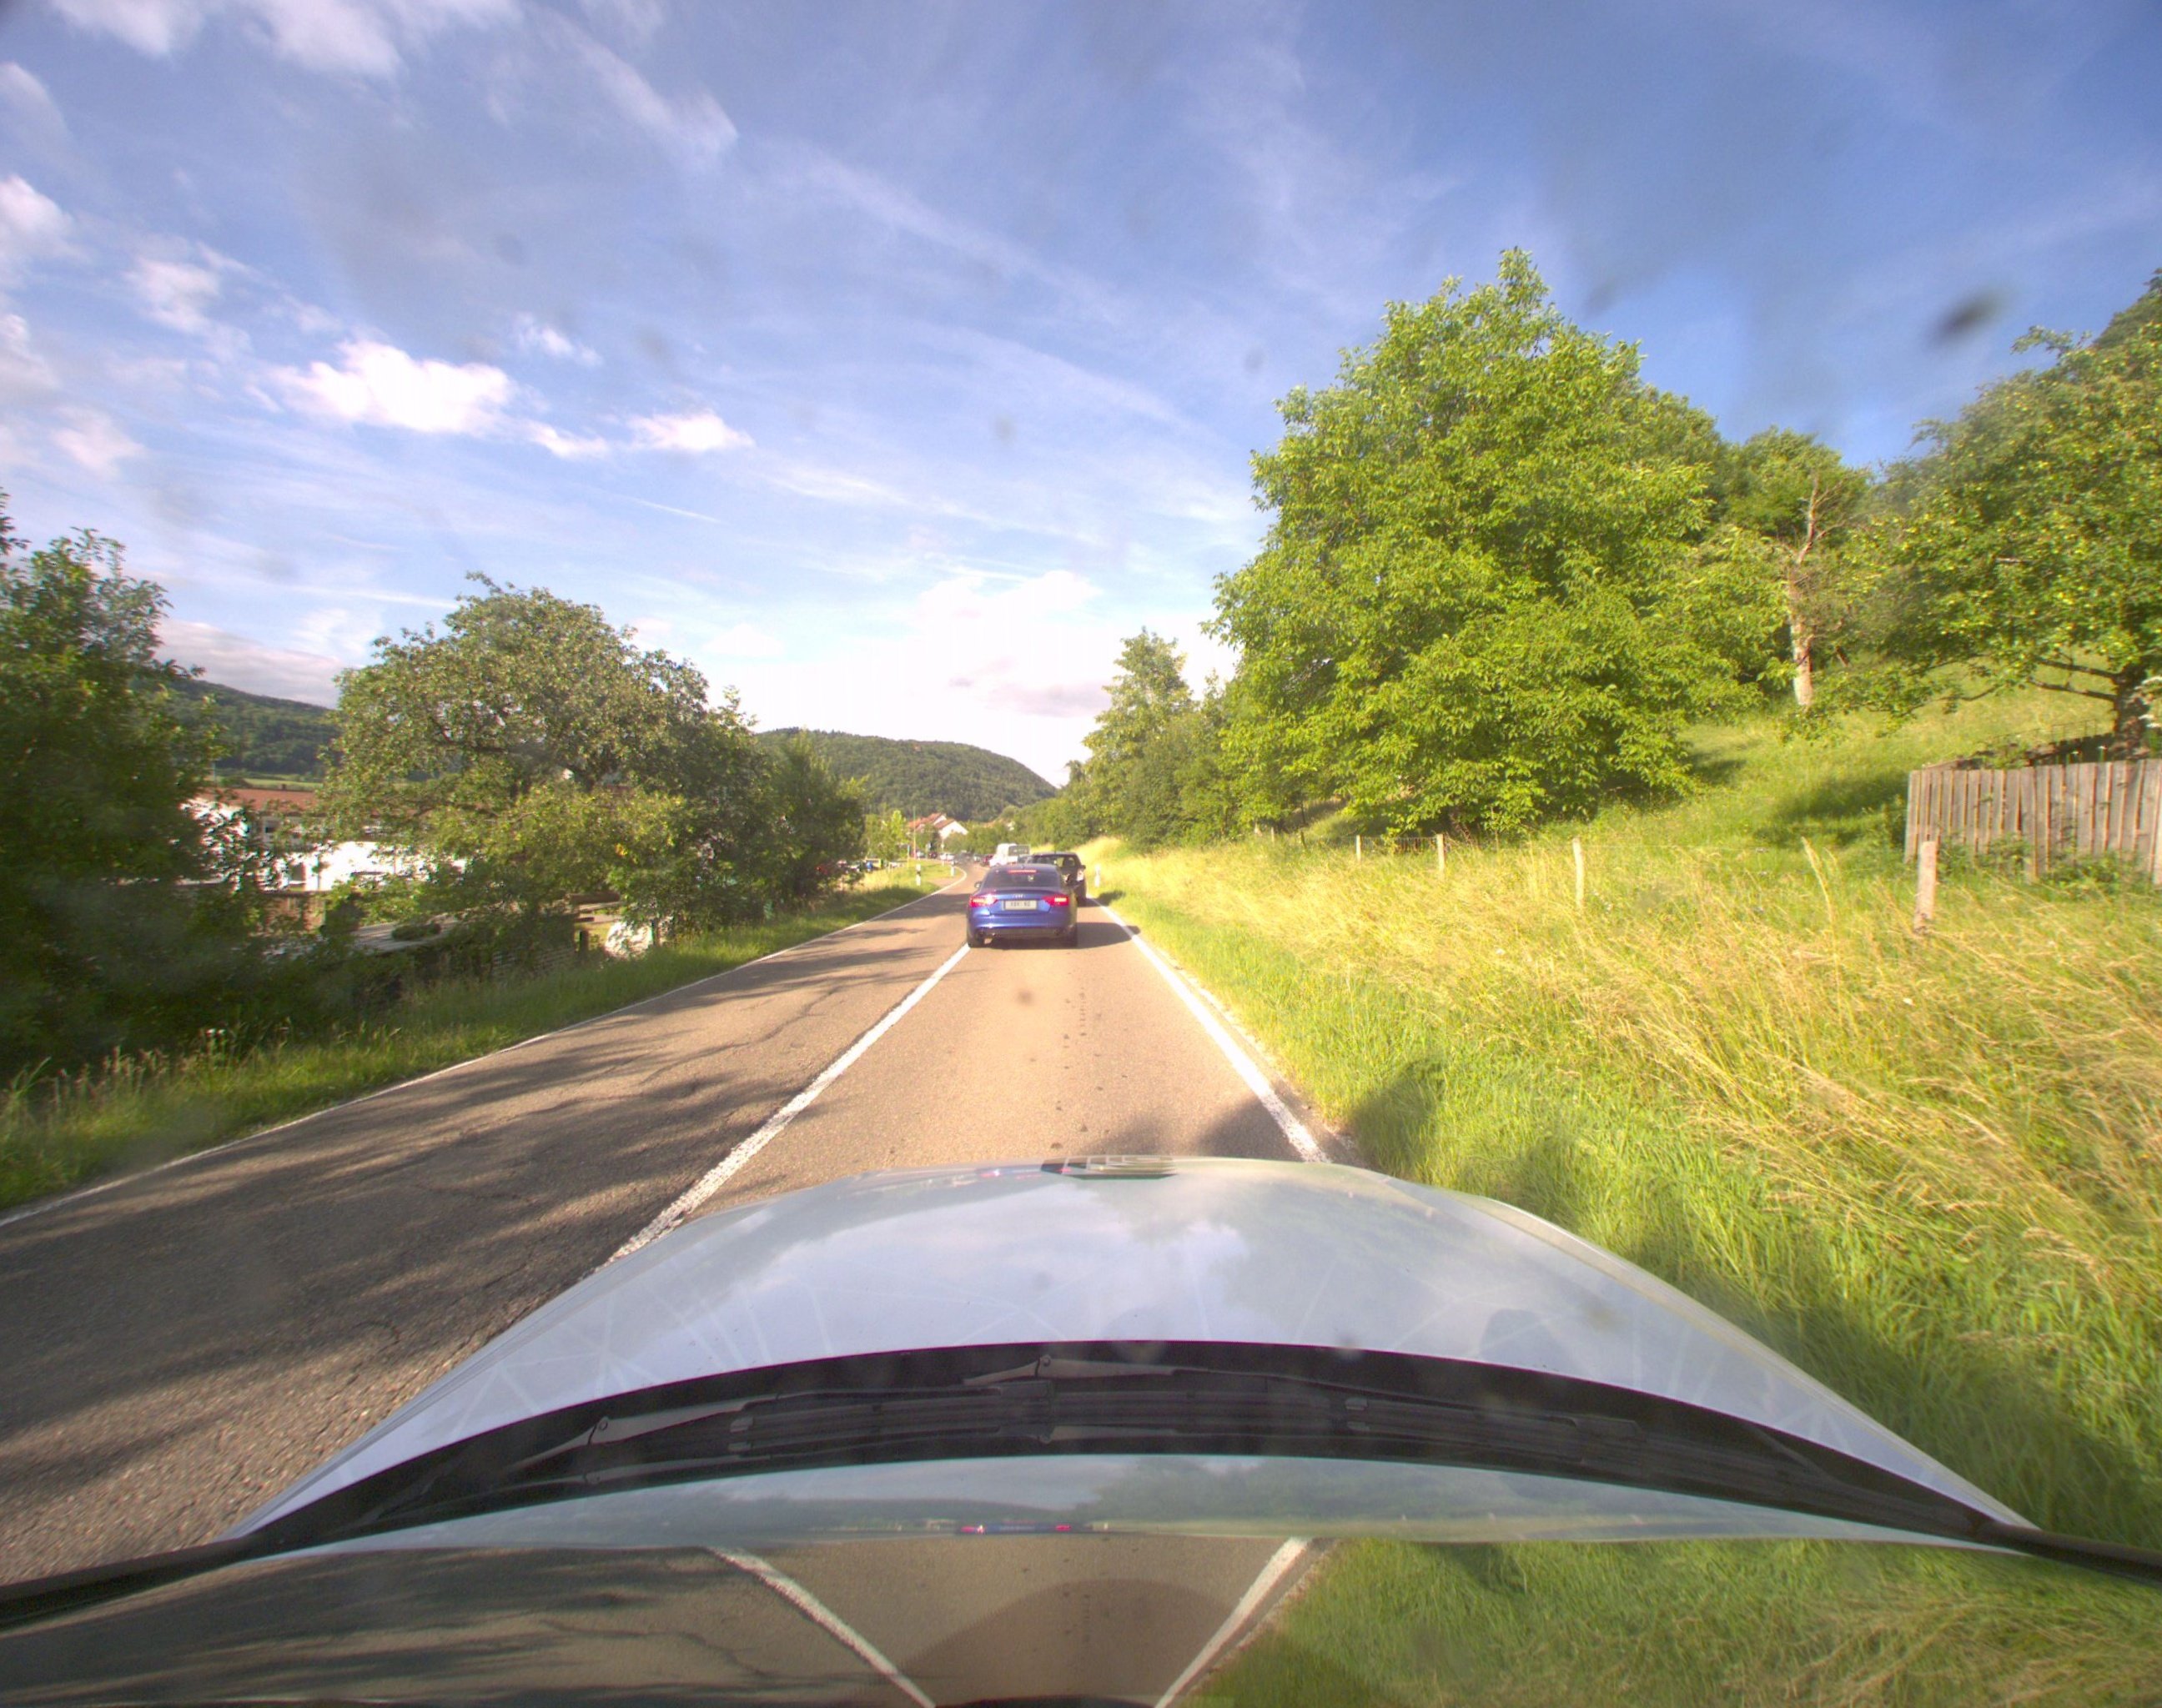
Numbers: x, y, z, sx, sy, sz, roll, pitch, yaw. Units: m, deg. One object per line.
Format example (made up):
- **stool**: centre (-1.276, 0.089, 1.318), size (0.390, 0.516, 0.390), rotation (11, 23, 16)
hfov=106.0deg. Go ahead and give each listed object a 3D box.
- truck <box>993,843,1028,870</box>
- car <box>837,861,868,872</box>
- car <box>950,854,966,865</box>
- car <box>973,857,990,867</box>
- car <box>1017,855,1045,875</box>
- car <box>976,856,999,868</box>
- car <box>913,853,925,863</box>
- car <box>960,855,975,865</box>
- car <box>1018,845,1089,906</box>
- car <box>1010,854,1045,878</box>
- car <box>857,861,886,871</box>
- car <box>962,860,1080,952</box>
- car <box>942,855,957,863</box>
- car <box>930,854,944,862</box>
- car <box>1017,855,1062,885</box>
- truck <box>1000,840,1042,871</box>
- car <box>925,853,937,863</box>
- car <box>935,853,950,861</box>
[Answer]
- **truck**: centre (-7.484, 0.235, 85.193), size (2.864, 2.665, 10.608), rotation (0, 0, -10)
- **car**: centre (-33.025, 1.819, 117.965), size (3.975, 1.553, 1.781), rotation (0, -1, -1)
- **car**: centre (-16.209, 0.772, 107.312), size (1.993, 1.376, 3.988), rotation (0, -1, -8)
- **car**: centre (-14.732, 1.164, 120.509), size (1.997, 1.482, 3.979), rotation (0, -1, -15)
- **car**: centre (-3.925, 0.827, 63.428), size (1.991, 1.482, 3.991), rotation (0, -1, -6)
- **car**: centre (-11.308, 0.956, 98.308), size (2.000, 1.482, 3.974), rotation (0, -1, -19)
- **car**: centre (-36.072, 0.893, 181.537), size (2.000, 2.014, 3.972), rotation (0, -1, -20)
- **car**: centre (-18.401, 1.001, 131.767), size (1.997, 1.482, 3.979), rotation (0, -1, -15)
- **car**: centre (-0.798, 0.616, 24.709), size (1.988, 1.702, 3.998), rotation (0, -1, -1)
- **car**: centre (-3.477, 0.753, 52.488), size (1.992, 1.482, 3.989), rotation (0, -1, -8)
- **car**: centre (-32.584, 1.893, 126.683), size (3.975, 1.553, 1.781), rotation (0, -1, -1)
- **car**: centre (-0.980, 0.821, 14.569), size (1.789, 1.360, 3.997), rotation (-1, 0, -2)
- **car**: centre (-23.597, 0.920, 146.002), size (2.001, 1.482, 3.971), rotation (0, -1, -21)
- **car**: centre (-28.378, 0.764, 160.190), size (2.001, 1.482, 3.971), rotation (0, -1, -21)
- **car**: centre (-2.092, 0.774, 40.093), size (1.991, 1.387, 3.991), rotation (0, -1, -6)
- **truck**: centre (-5.659, 0.168, 74.810), size (2.864, 2.665, 10.357), rotation (0, 0, -10)
- **car**: centre (-31.503, 0.893, 171.010), size (2.000, 2.014, 3.972), rotation (0, -1, -20)
- **car**: centre (-26.021, 0.650, 152.598), size (2.001, 1.482, 3.971), rotation (0, -1, -21)
